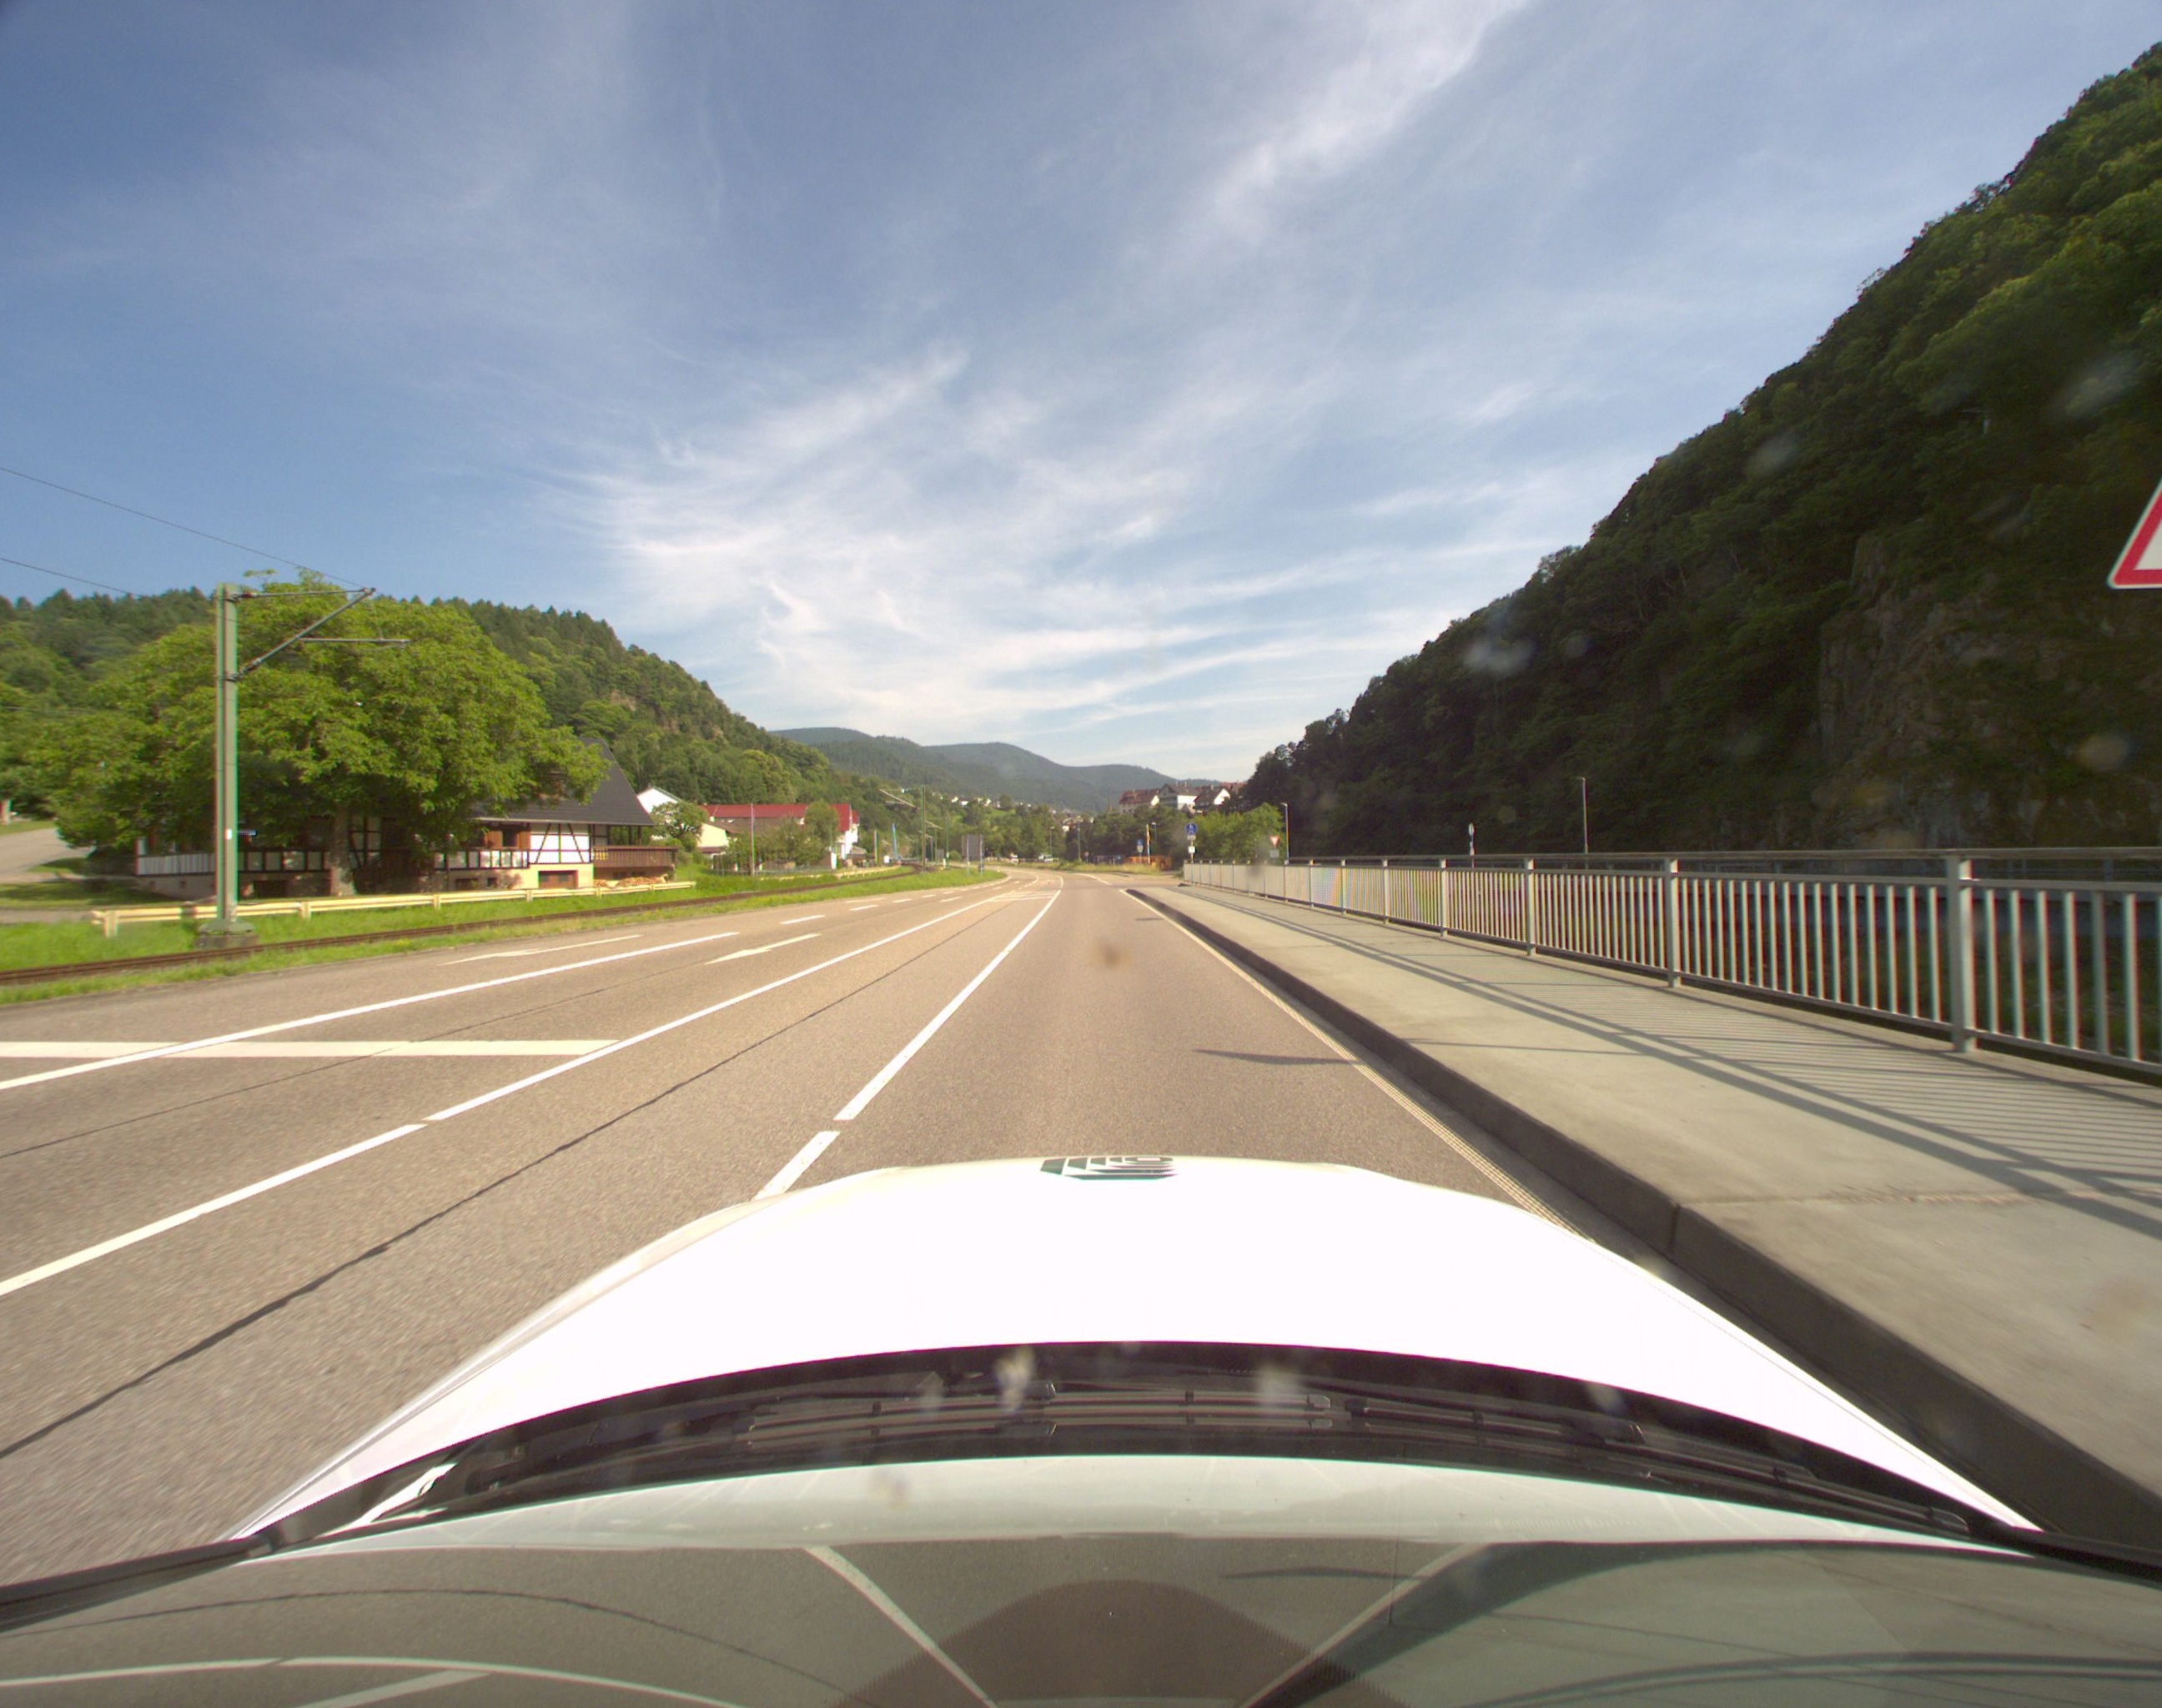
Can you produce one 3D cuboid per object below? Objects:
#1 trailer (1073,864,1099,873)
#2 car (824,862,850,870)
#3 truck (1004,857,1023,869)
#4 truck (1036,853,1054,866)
[{"bbox_3d":[0.850,2.578,144.487,2.793,1.474,9.849,1,-1,-11],"label":"trailer"},{"bbox_3d":[-41.423,2.009,138.198,4.096,1.270,1.730,-1,0,-11],"label":"car"},{"bbox_3d":[-21.398,2.762,256.910,3.119,3.782,8.571,0,-1,-26],"label":"truck"},{"bbox_3d":[-10.744,1.583,242.012,3.111,3.782,8.594,0,-1,-17],"label":"truck"}]
